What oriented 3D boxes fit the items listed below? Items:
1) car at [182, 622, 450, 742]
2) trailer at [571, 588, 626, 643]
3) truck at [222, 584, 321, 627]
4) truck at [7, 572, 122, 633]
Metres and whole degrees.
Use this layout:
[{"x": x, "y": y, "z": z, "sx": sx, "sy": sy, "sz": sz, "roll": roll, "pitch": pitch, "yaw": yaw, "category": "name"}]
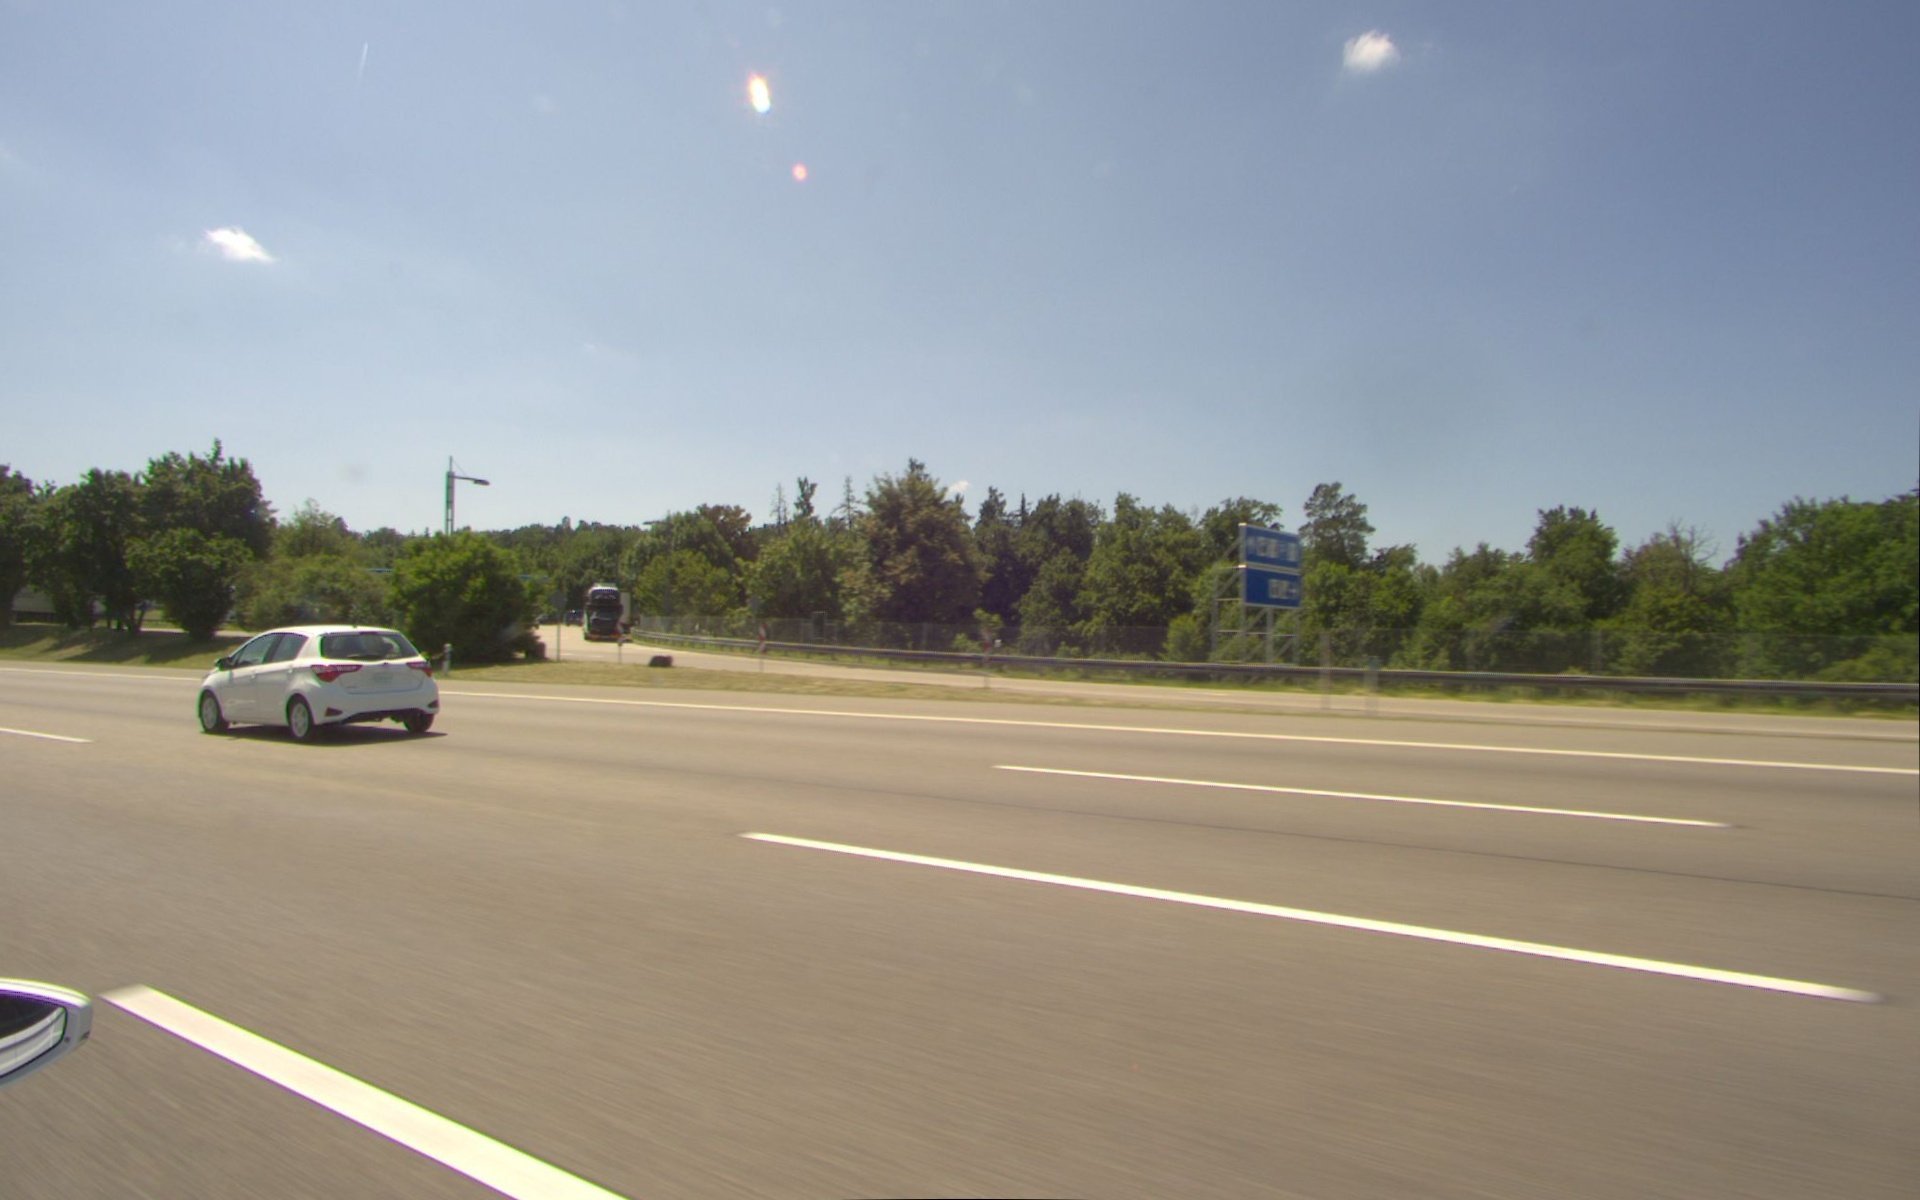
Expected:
[{"x": -9.140, "y": 1.053, "z": 14.105, "sx": 4.316, "sy": 1.452, "sz": 1.662, "roll": -1, "pitch": -2, "yaw": 35, "category": "car"}, {"x": -27.053, "y": 1.088, "z": 74.478, "sx": 3.117, "sy": 3.685, "sz": 13.574, "roll": 1, "pitch": 0, "yaw": -23, "category": "trailer"}, {"x": -60.777, "y": 0.564, "z": 88.261, "sx": 10.401, "sy": 3.610, "sz": 3.321, "roll": -1, "pitch": -1, "yaw": 32, "category": "truck"}, {"x": -75.565, "y": 0.337, "z": 84.331, "sx": 14.486, "sy": 4.891, "sz": 3.321, "roll": -1, "pitch": -1, "yaw": 32, "category": "truck"}]
